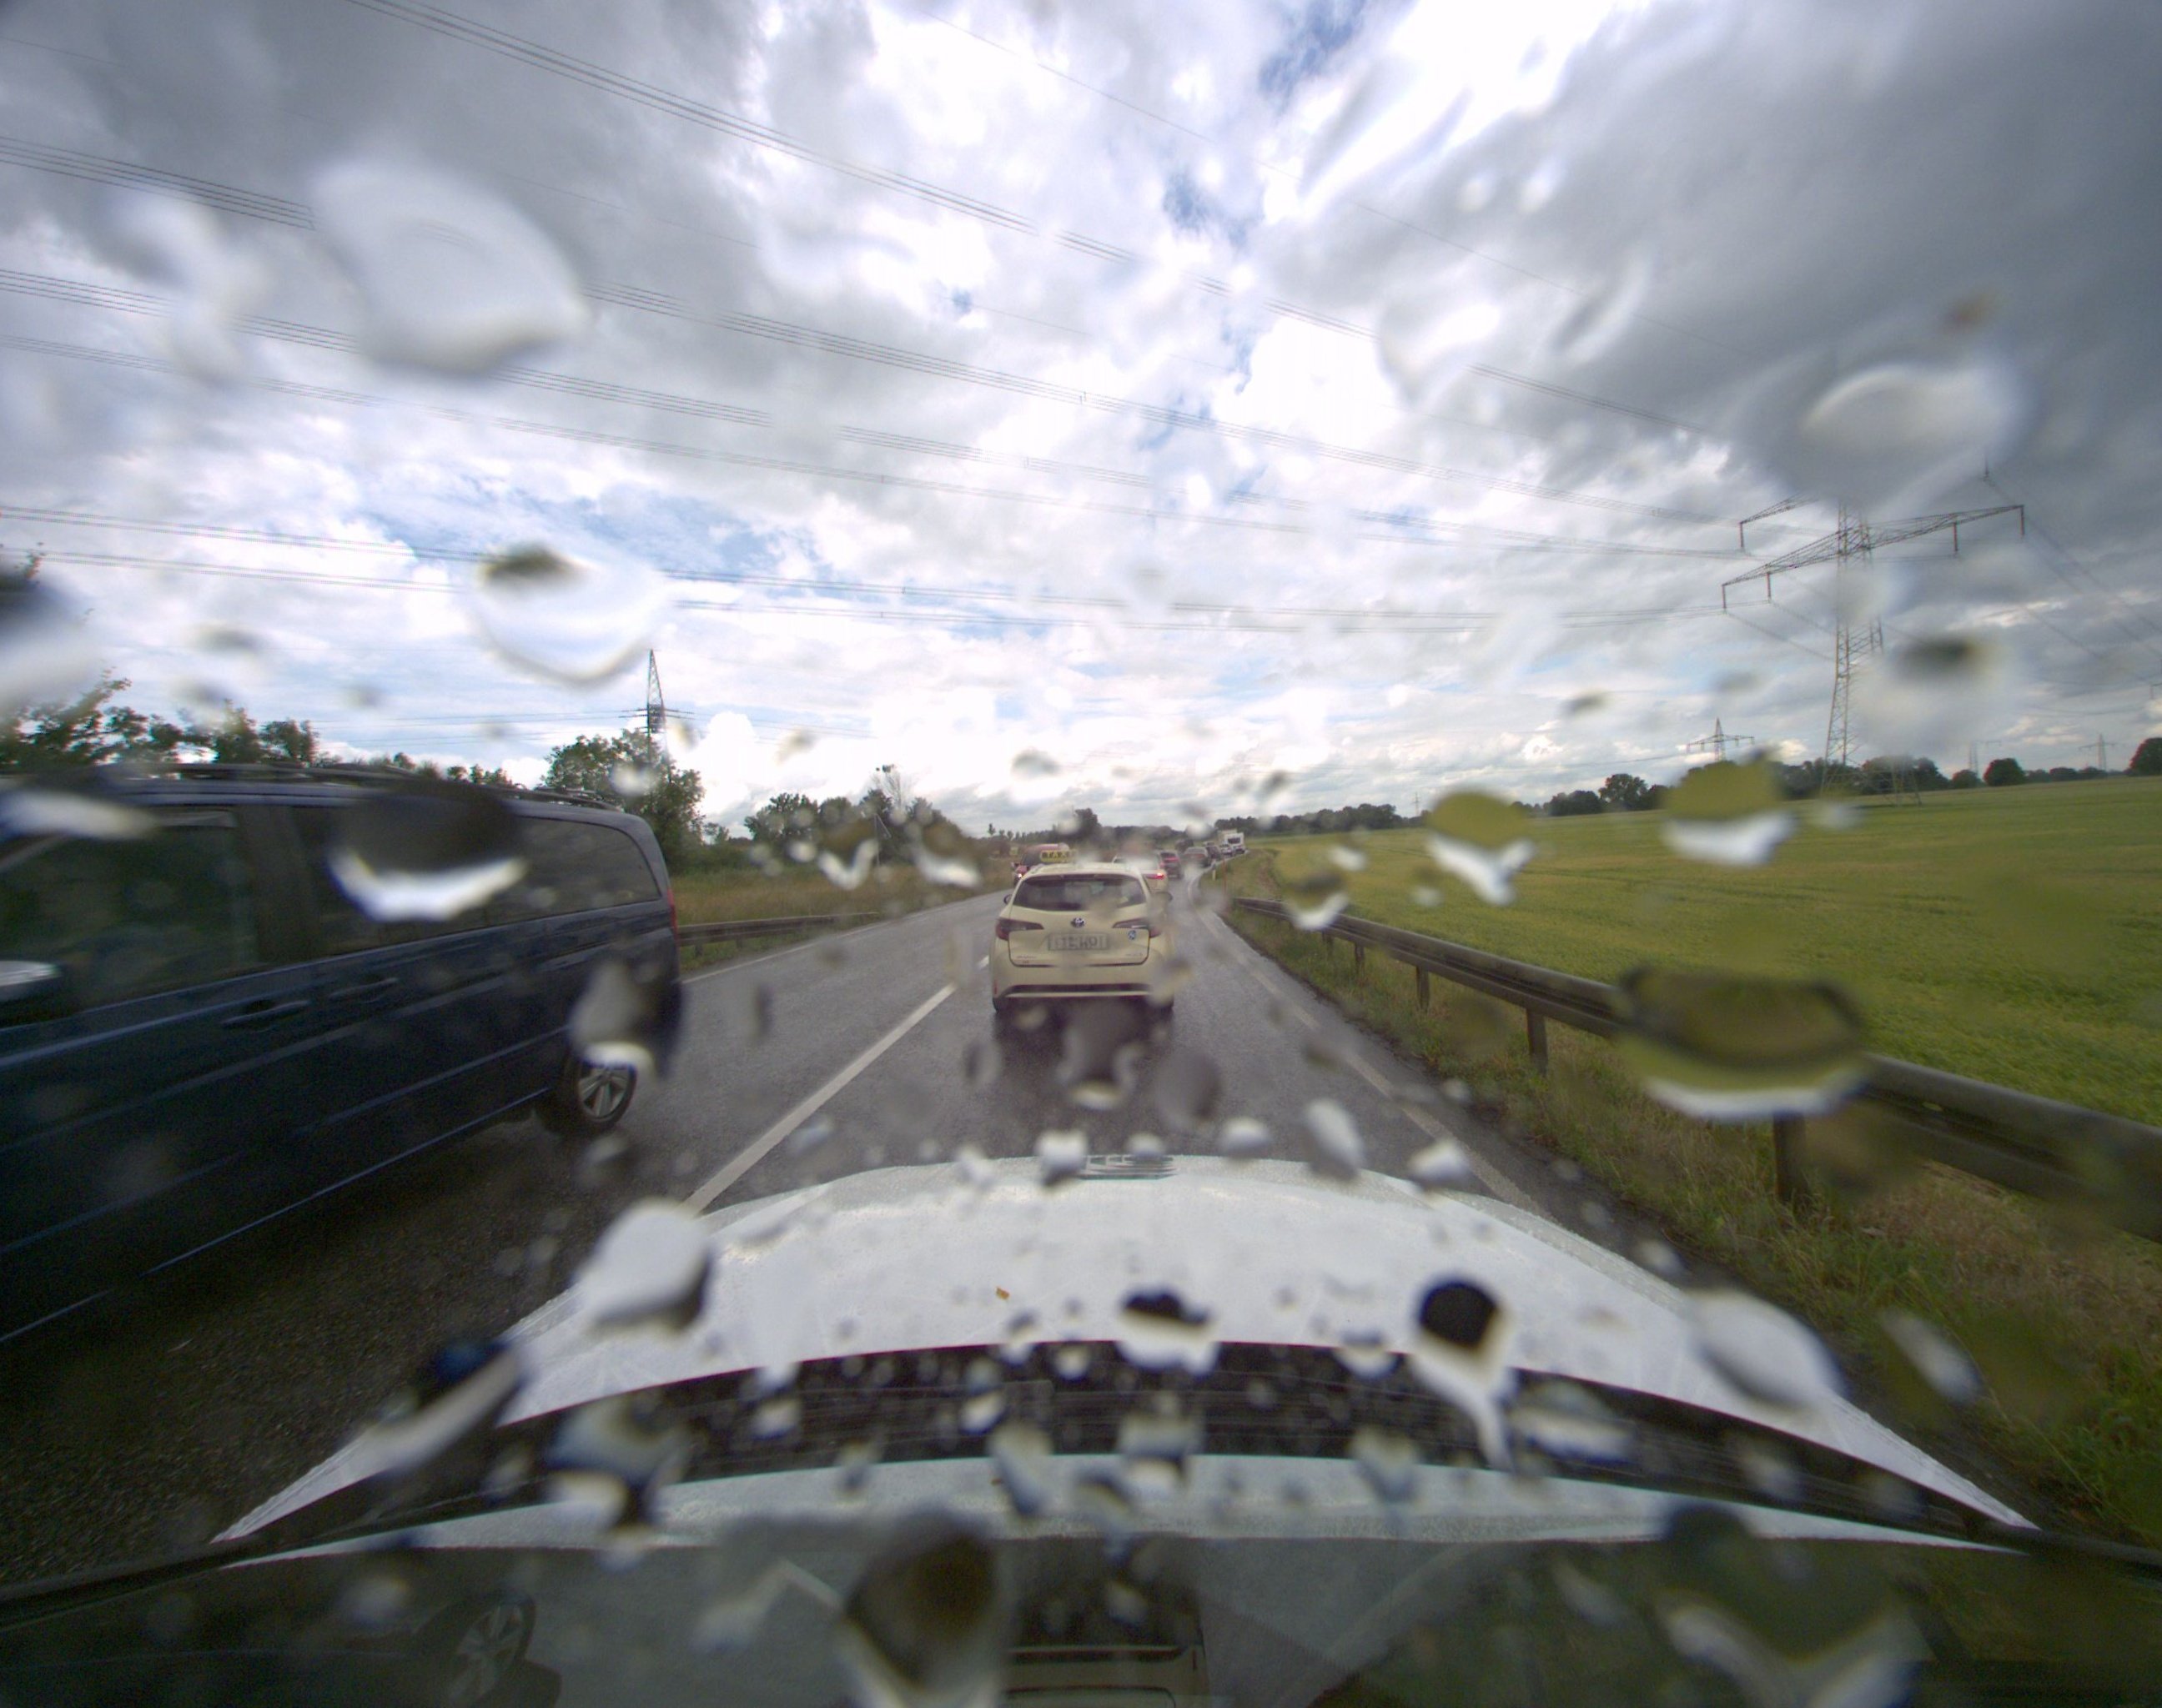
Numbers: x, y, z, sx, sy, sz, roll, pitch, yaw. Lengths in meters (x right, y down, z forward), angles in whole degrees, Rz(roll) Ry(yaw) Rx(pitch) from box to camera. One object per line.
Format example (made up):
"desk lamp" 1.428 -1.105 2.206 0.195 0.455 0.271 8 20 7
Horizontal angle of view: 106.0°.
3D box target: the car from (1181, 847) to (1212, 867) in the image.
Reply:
"car" 8.831 0.254 62.081 1.947 1.413 4.407 -1 -1 12

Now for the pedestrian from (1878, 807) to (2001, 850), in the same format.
"pedestrian" 43.110 -1.234 41.021 1.987 2.014 3.999 -1 -1 0

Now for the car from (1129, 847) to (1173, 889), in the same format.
"car" 3.013 0.589 34.376 1.603 1.659 3.747 -1 -1 8

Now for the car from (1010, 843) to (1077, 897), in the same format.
"car" -1.339 0.572 31.108 1.792 1.850 4.529 -2 -1 7

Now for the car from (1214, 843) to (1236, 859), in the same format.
"car" 15.738 -0.282 89.165 1.945 1.729 3.754 -1 -1 16

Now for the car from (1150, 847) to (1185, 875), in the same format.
"car" 4.662 0.360 43.484 1.603 1.413 3.749 -1 -1 10

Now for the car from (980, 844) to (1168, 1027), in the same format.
"car" -0.021 0.723 8.905 1.607 1.562 3.739 -1 -1 1

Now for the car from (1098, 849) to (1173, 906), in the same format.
"car" 1.721 0.630 24.257 1.831 1.492 4.619 -1 1 8

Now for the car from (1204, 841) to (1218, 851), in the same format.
"car" 24.176 -1.438 151.455 1.877 1.773 4.159 -1 -1 0

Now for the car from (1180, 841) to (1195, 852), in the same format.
"car" 21.761 -1.494 166.193 1.740 2.014 4.131 -1 -1 -12

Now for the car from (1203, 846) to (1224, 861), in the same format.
"car" 12.808 -0.069 78.642 1.813 1.413 3.751 -1 -1 12

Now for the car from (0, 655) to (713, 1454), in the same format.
"car" -3.671 0.529 3.322 1.955 2.013 4.862 -2 0 2

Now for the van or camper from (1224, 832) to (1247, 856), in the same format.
"van or camper" 19.725 -1.297 103.806 2.519 2.896 6.767 -1 1 13

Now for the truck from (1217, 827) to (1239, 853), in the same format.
"truck" 23.758 -2.212 131.710 3.110 3.852 7.400 -1 -1 7

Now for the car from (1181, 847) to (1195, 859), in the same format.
"car" 17.987 -0.191 137.243 1.985 2.014 4.248 -1 -1 3
